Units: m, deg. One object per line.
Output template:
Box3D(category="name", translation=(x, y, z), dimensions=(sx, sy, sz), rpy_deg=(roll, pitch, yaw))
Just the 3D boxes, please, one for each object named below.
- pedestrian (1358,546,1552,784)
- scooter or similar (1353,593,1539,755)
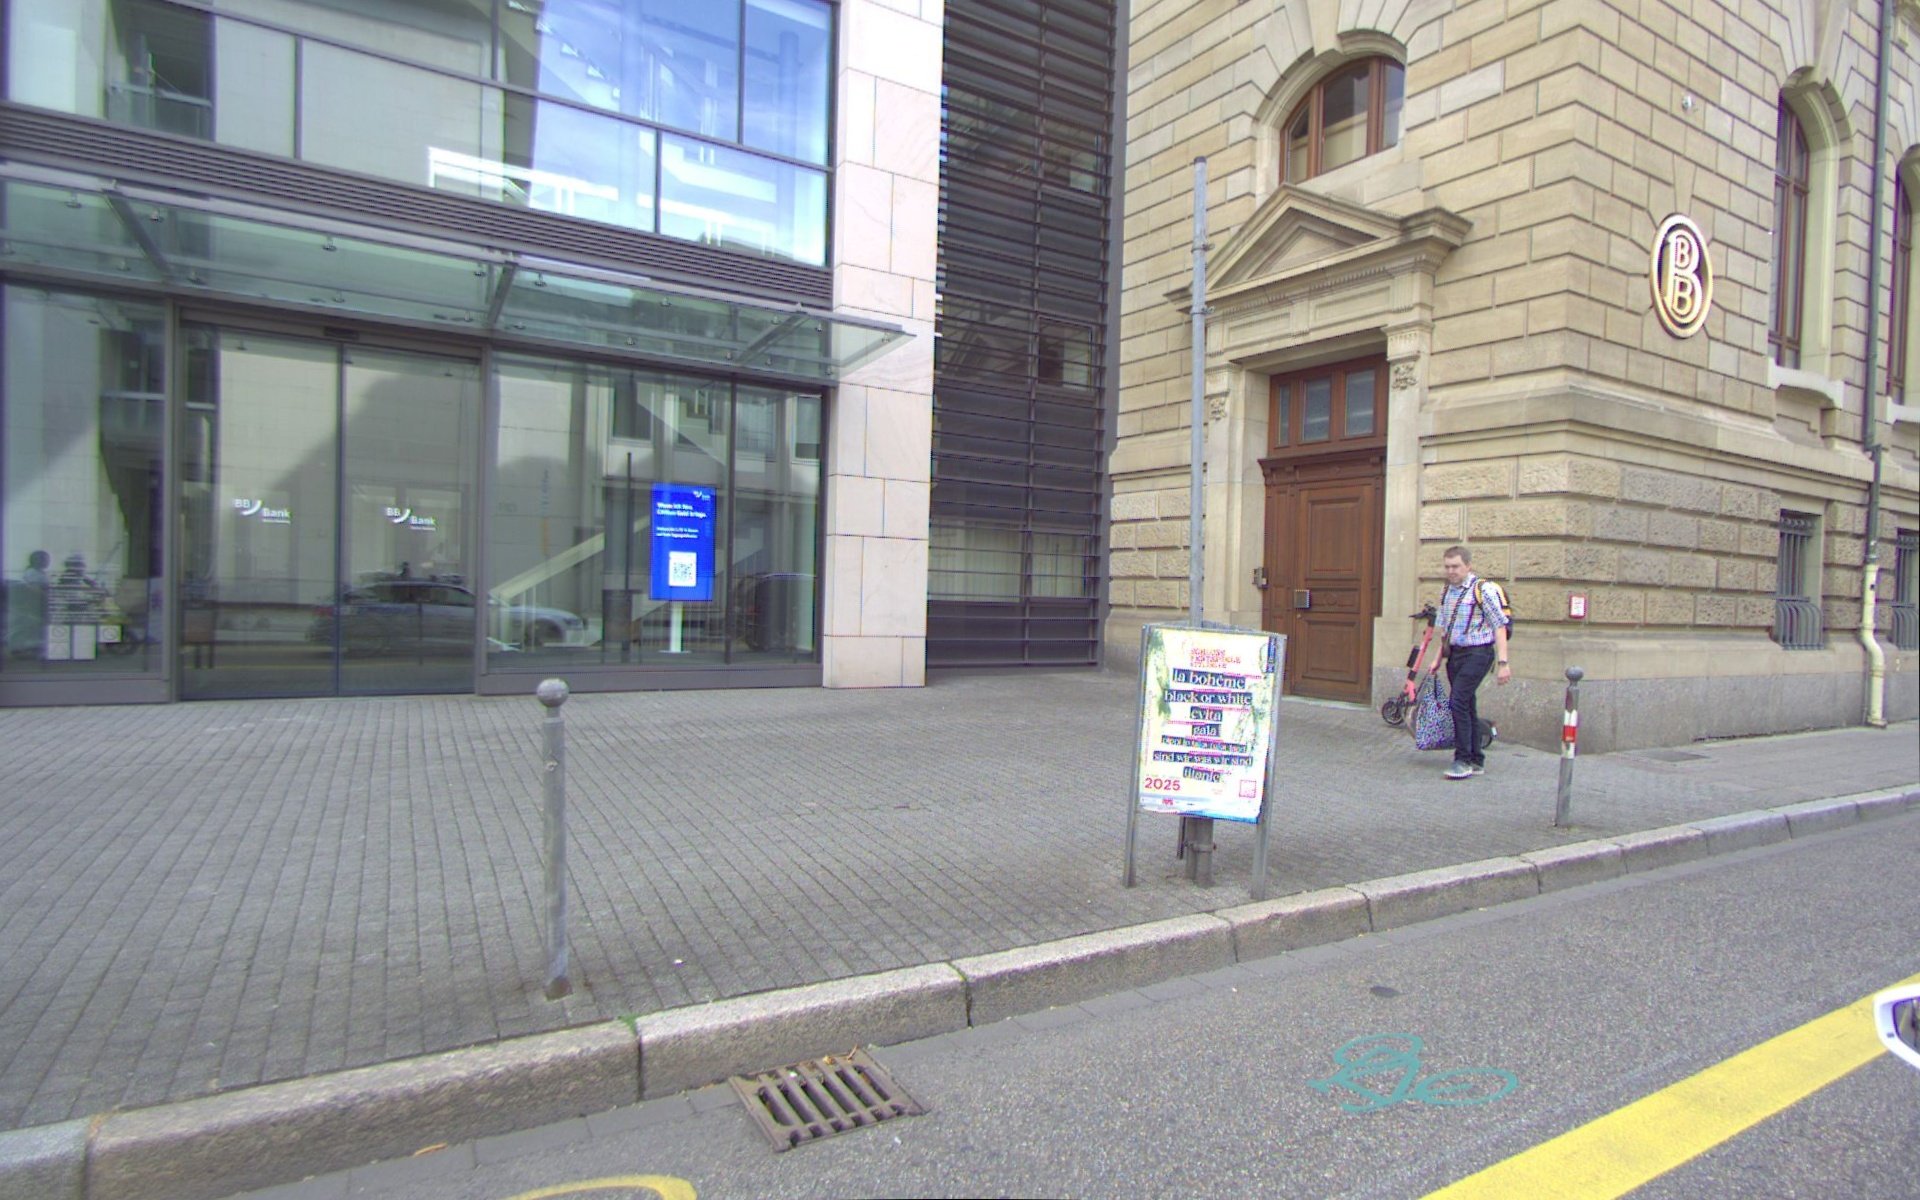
Box3D(category="pedestrian", translation=(3.921, 0.466, 8.008), dimensions=(0.809, 1.743, 1.021), rpy_deg=(2, 2, -30))
Box3D(category="scooter or similar", translation=(4.554, 0.642, 9.506), dimensions=(0.580, 1.328, 1.439), rpy_deg=(0, 4, -30))
